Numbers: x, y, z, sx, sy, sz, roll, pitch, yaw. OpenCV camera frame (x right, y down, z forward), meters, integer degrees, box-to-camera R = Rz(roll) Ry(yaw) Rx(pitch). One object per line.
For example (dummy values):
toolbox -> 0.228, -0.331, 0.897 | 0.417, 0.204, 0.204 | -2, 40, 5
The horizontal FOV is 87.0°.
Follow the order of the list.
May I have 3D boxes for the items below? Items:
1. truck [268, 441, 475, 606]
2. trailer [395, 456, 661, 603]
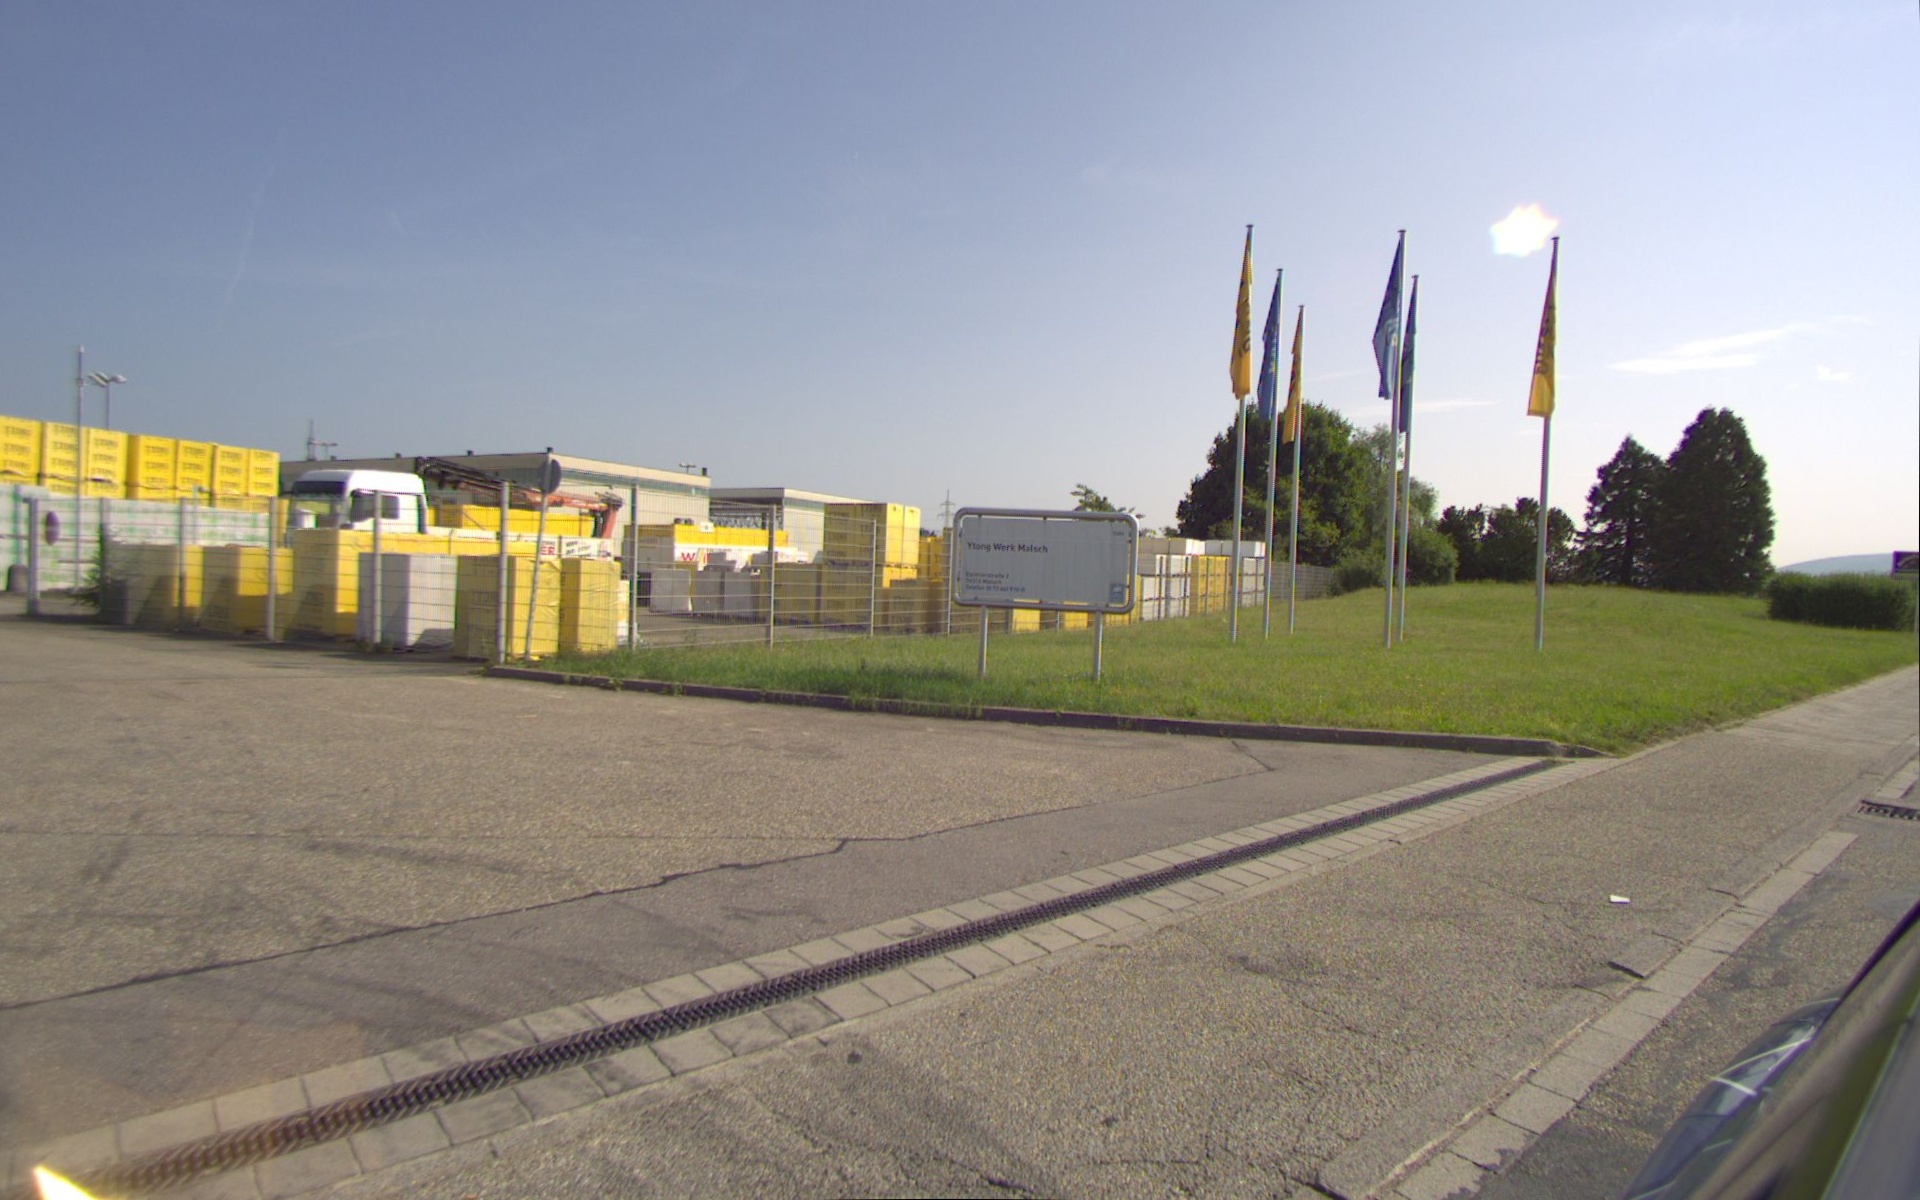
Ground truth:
truck -> -15.221, -1.849, 26.390 | 2.521, 3.924, 3.963 | 0, 1, 27
trailer -> -12.871, -1.939, 31.034 | 2.461, 3.924, 7.729 | 0, 1, 27
